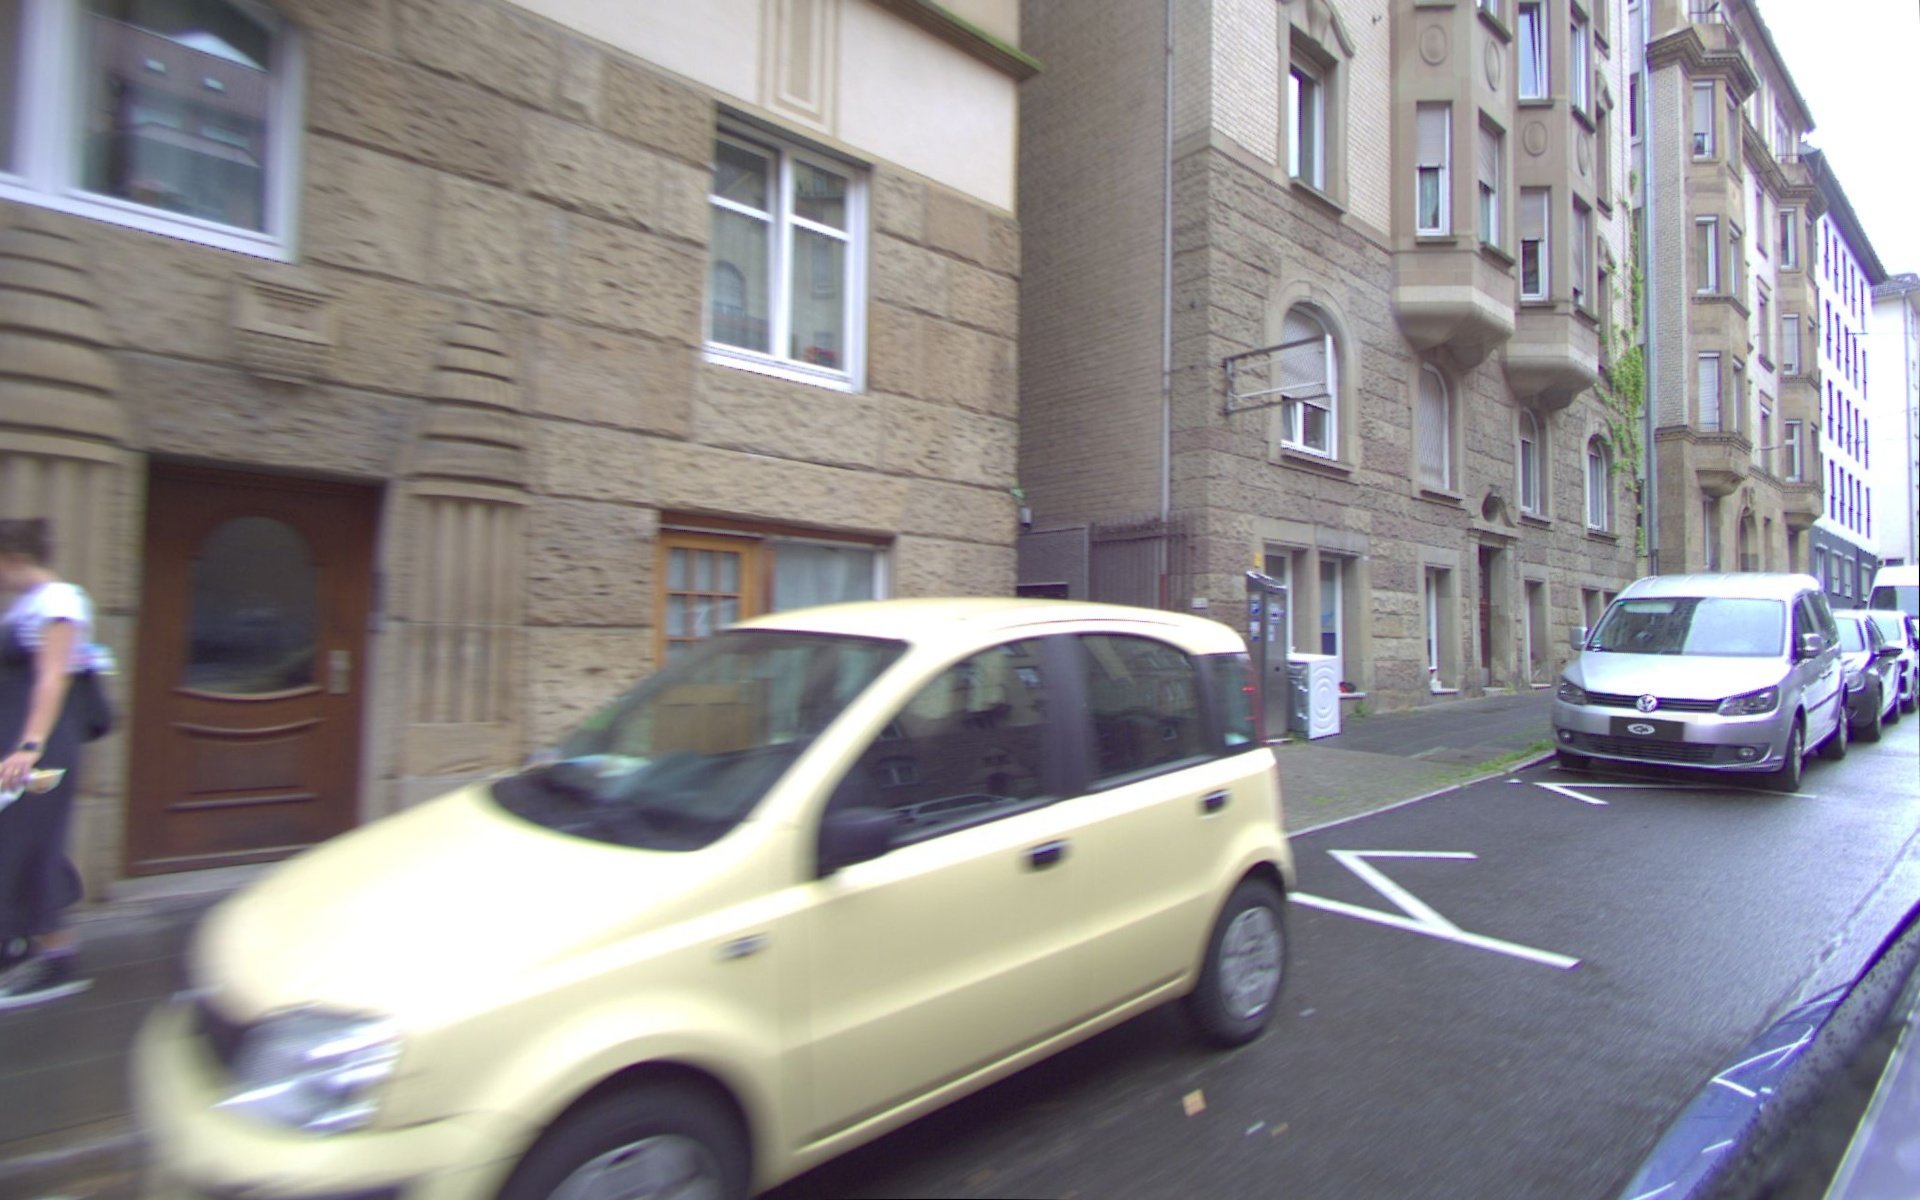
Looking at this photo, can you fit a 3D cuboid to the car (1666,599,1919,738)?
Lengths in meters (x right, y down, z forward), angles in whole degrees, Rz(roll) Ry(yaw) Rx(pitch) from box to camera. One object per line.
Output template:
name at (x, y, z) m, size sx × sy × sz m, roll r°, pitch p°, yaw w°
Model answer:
car at (10.664, 0.731, 12.815) m, size 3.931 × 1.459 × 1.996 m, roll 0°, pitch 0°, yaw -42°

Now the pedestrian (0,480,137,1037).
pedestrian at (-3.288, 0.504, 3.545) m, size 0.598 × 1.755 × 0.864 m, roll 1°, pitch -2°, yaw -38°

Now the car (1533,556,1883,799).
car at (7.210, 0.586, 9.589) m, size 4.284 × 1.799 × 1.777 m, roll 1°, pitch -1°, yaw -41°

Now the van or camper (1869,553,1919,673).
van or camper at (22.575, 0.255, 23.037) m, size 6.012 × 2.500 × 2.068 m, roll 0°, pitch 0°, yaw -41°

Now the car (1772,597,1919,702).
car at (14.043, 0.706, 15.644) m, size 3.931 × 1.429 × 1.678 m, roll 0°, pitch -2°, yaw -42°

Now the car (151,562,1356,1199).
car at (-0.351, 0.719, 3.199) m, size 3.400 × 1.497 × 1.561 m, roll 0°, pitch -2°, yaw -41°
